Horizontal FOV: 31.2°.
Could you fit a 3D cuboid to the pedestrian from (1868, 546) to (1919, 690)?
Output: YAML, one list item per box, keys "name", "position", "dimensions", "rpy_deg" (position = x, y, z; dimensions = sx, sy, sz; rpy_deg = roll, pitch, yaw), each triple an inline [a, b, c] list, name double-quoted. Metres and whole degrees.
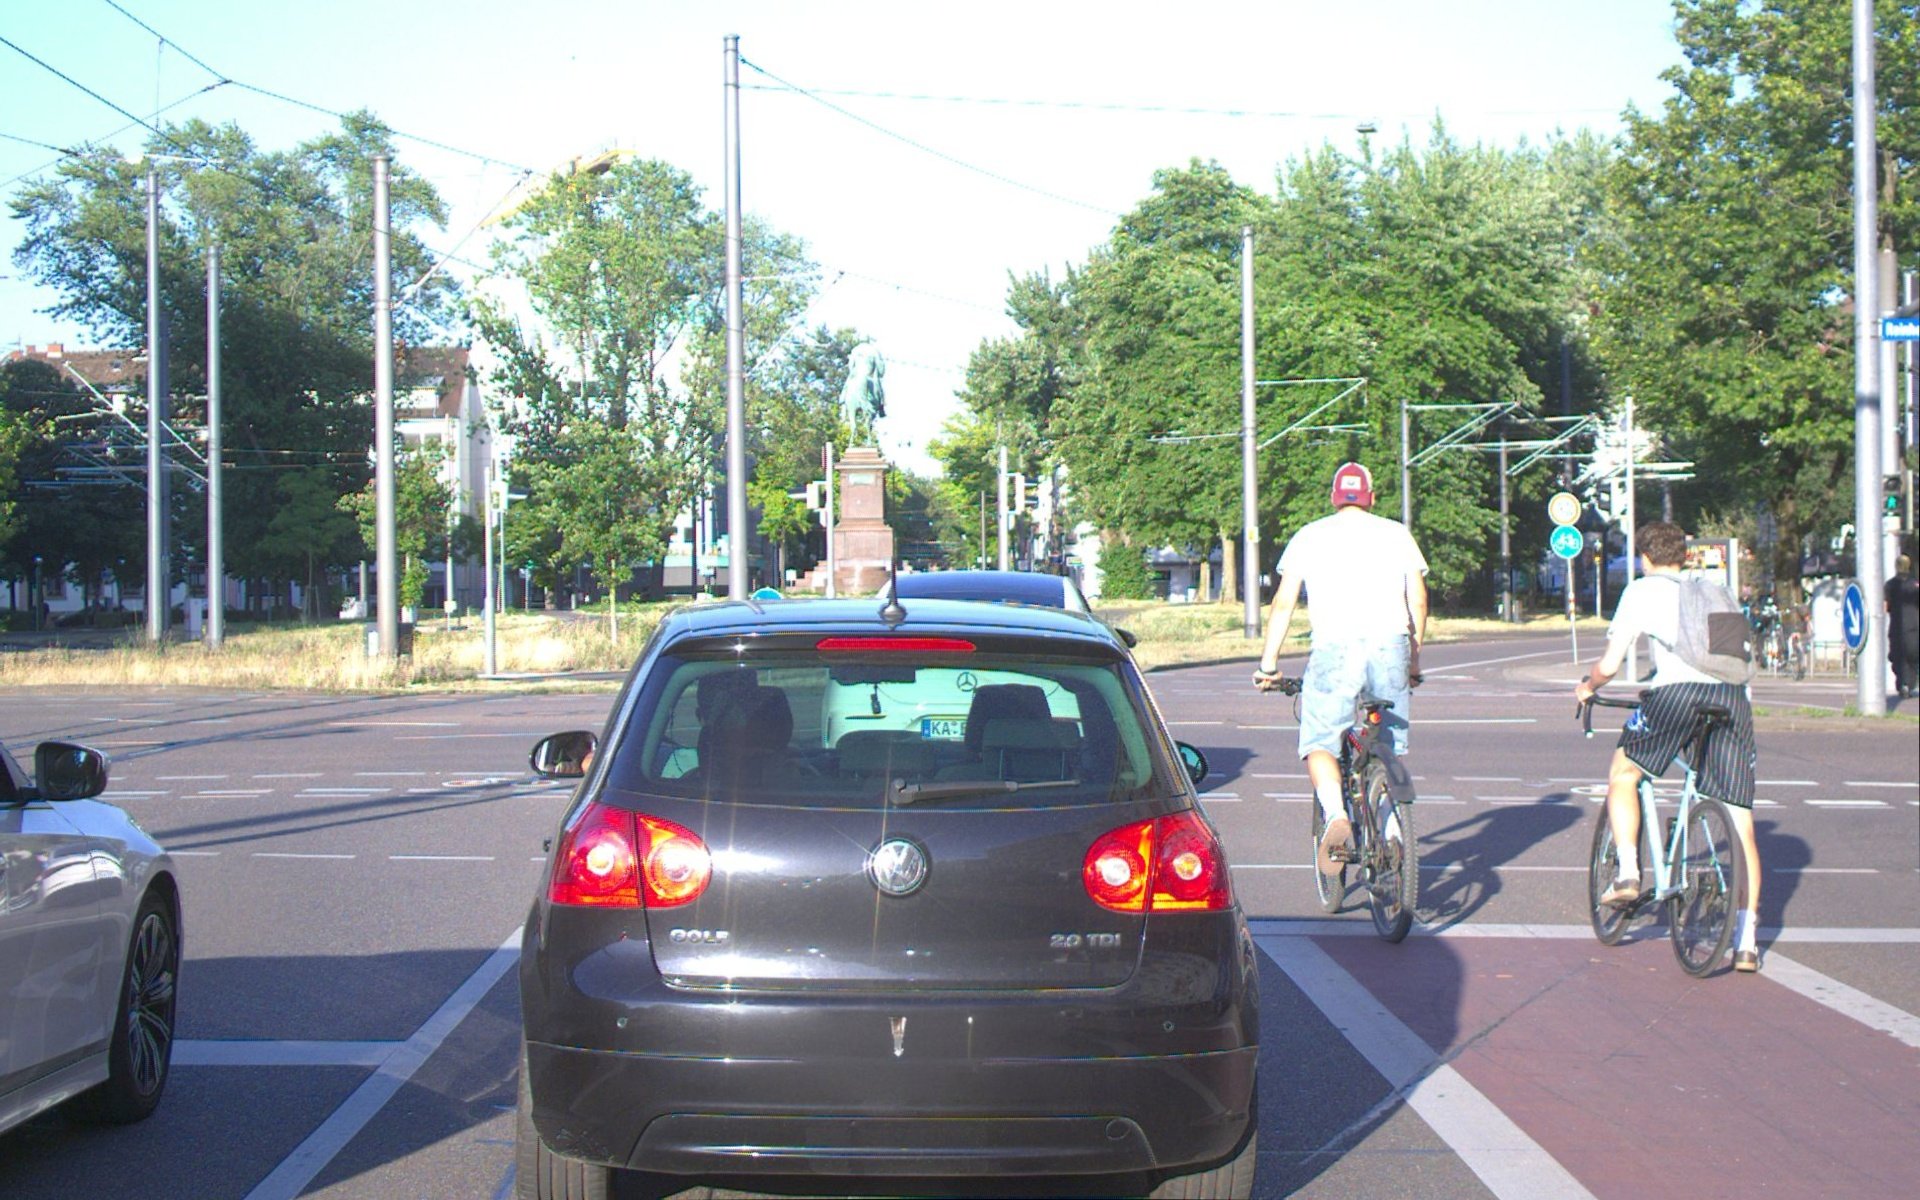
- name: "pedestrian"
  position: [11.330, 0.210, 41.223]
  dimensions: [0.662, 1.698, 1.071]
  rpy_deg: [0, 1, 5]

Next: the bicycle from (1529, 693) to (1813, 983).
- name: "bicycle"
  position: [2.826, 0.918, 13.841]
  dimensions: [0.575, 1.024, 1.857]
  rpy_deg: [0, 0, -6]

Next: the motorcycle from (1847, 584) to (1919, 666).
- name: "motorcycle"
  position: [16.453, 0.431, 59.521]
  dimensions: [2.044, 1.401, 0.760]
  rpy_deg: [0, 0, 8]

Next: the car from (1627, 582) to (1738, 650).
- name: "car"
  position: [16.901, 0.357, 80.350]
  dimensions: [1.730, 1.467, 3.894]
  rpy_deg: [-3, -1, 23]

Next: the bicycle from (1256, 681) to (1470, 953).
- name: "bicycle"
  position: [1.700, 0.892, 14.764]
  dimensions: [0.478, 1.024, 1.982]
  rpy_deg: [0, 0, -6]

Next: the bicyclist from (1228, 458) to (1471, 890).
- name: "bicyclist"
  position: [1.669, 0.304, 14.885]
  dimensions: [0.826, 1.801, 1.057]
  rpy_deg: [0, 0, -6]

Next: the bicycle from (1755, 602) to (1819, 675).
- name: "bicycle"
  position: [13.533, 0.617, 56.280]
  dimensions: [0.645, 1.123, 1.874]
  rpy_deg: [0, 1, 2]

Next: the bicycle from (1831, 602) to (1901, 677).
- name: "bicycle"
  position: [14.851, 0.632, 56.387]
  dimensions: [0.645, 1.154, 2.124]
  rpy_deg: [0, 1, 2]

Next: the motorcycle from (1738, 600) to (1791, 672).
- name: "motorcycle"
  position: [14.409, 0.633, 61.611]
  dimensions: [0.666, 1.238, 2.200]
  rpy_deg: [0, 1, 6]

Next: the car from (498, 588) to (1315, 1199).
- name: "car"
  position: [-0.320, 0.708, 9.380]
  dimensions: [1.747, 1.456, 4.104]
  rpy_deg: [0, 0, -6]

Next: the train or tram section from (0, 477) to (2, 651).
- name: "train or tram section"
  position: [-20.736, -0.694, 64.392]
  dimensions: [2.773, 3.524, 10.571]
  rpy_deg: [0, 0, -1]

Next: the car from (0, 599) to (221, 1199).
- name: "car"
  position: [-3.098, 0.700, 7.745]
  dimensions: [1.837, 1.396, 4.584]
  rpy_deg: [2, 0, 0]

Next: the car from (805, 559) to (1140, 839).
- name: "car"
  position: [0.122, 0.544, 21.819]
  dimensions: [1.865, 1.436, 4.197]
  rpy_deg: [-2, 2, 1]

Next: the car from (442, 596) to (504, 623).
- name: "car"
  position: [-27.170, 0.522, 191.856]
  dimensions: [3.338, 1.502, 1.659]
  rpy_deg: [0, 0, -3]

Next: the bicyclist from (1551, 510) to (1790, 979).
- name: "bicyclist"
  position: [2.823, 0.550, 13.733]
  dimensions: [0.674, 1.801, 0.994]
  rpy_deg: [0, 0, -5]

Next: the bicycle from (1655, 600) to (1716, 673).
- name: "bicycle"
  position: [11.858, 0.591, 56.253]
  dimensions: [0.645, 1.123, 1.874]
  rpy_deg: [0, 1, 2]
